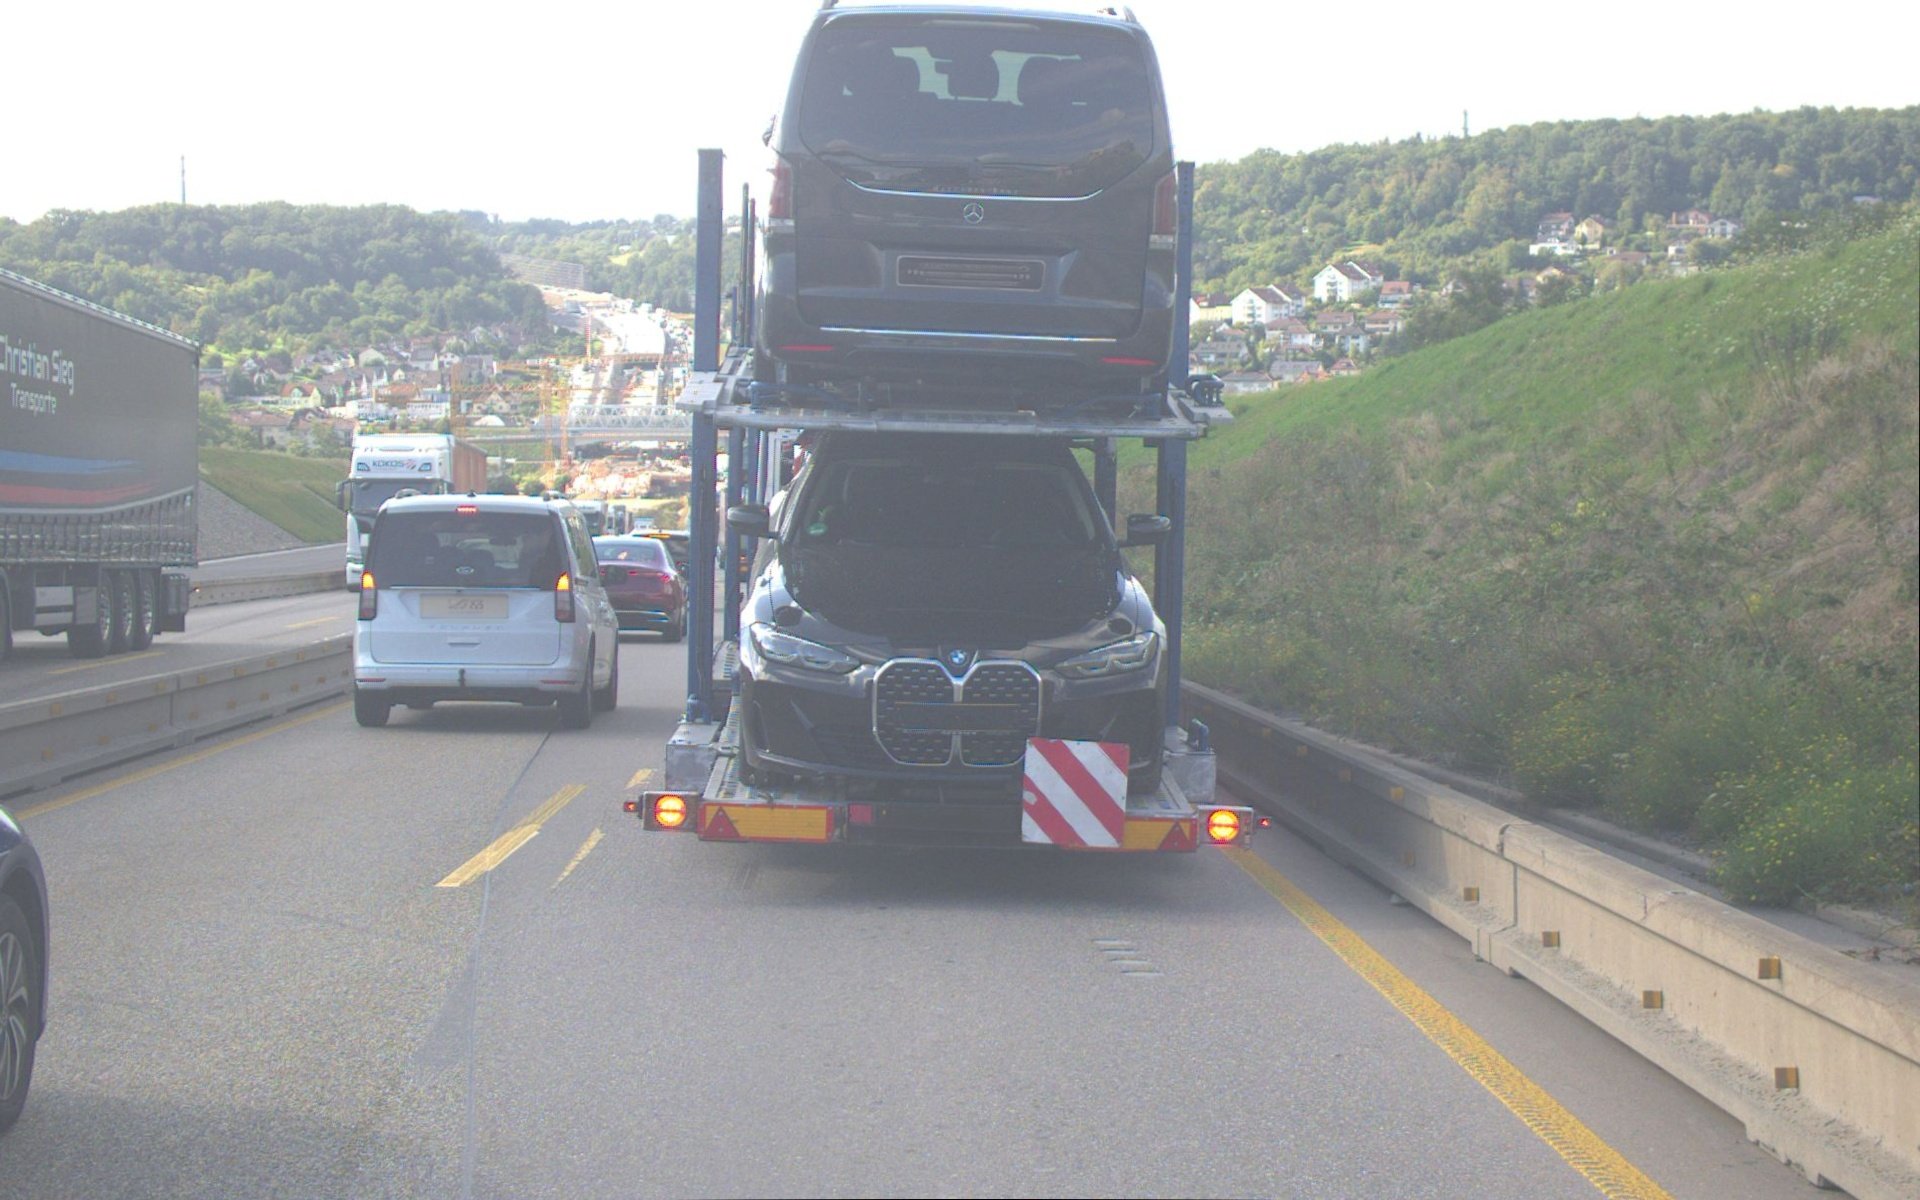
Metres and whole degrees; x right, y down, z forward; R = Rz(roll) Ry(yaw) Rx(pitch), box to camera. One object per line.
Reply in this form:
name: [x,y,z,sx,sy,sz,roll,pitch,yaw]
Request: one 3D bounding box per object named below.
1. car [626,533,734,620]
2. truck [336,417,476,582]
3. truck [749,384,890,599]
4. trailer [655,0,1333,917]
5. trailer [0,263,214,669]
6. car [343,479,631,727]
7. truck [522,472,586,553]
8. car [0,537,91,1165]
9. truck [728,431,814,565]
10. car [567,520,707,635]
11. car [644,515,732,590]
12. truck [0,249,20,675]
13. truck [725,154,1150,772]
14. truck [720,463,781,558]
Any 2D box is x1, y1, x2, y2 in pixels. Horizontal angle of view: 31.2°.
car: [-5.668,-0.508,70.115,1.993,1.619,4.751,2,1,-3]
truck: [-14.576,-2.624,91.101,2.638,4.085,10.820,0,1,-4]
truck: [-3.342,-2.426,78.861,2.863,4.555,11.660,0,1,-4]
trailer: [-0.038,-0.858,19.560,2.708,4.015,11.421,0,1,-2]
trailer: [-10.817,-1.408,38.117,2.614,3.940,13.876,0,1,-2]
car: [-3.775,-0.040,28.112,1.823,1.817,4.457,2,2,-2]
truck: [-21.155,-4.554,179.398,2.638,4.085,10.820,0,1,-3]
car: [-3.136,0.612,7.049,1.715,1.503,4.000,1,1,-1]
truck: [-6.848,-3.606,123.092,2.863,4.555,11.660,0,1,-4]
car: [-4.572,-0.357,49.210,1.823,1.487,4.685,2,2,-4]
car: [-5.996,-1.062,76.130,1.796,1.591,4.743,0,1,-3]
truck: [-10.569,-1.302,31.337,2.614,4.139,5.782,0,1,-2]
truck: [-0.243,-0.930,24.863,2.678,3.908,6.028,0,1,-2]
truck: [-10.463,-4.420,171.037,2.863,4.555,11.660,0,1,-4]
